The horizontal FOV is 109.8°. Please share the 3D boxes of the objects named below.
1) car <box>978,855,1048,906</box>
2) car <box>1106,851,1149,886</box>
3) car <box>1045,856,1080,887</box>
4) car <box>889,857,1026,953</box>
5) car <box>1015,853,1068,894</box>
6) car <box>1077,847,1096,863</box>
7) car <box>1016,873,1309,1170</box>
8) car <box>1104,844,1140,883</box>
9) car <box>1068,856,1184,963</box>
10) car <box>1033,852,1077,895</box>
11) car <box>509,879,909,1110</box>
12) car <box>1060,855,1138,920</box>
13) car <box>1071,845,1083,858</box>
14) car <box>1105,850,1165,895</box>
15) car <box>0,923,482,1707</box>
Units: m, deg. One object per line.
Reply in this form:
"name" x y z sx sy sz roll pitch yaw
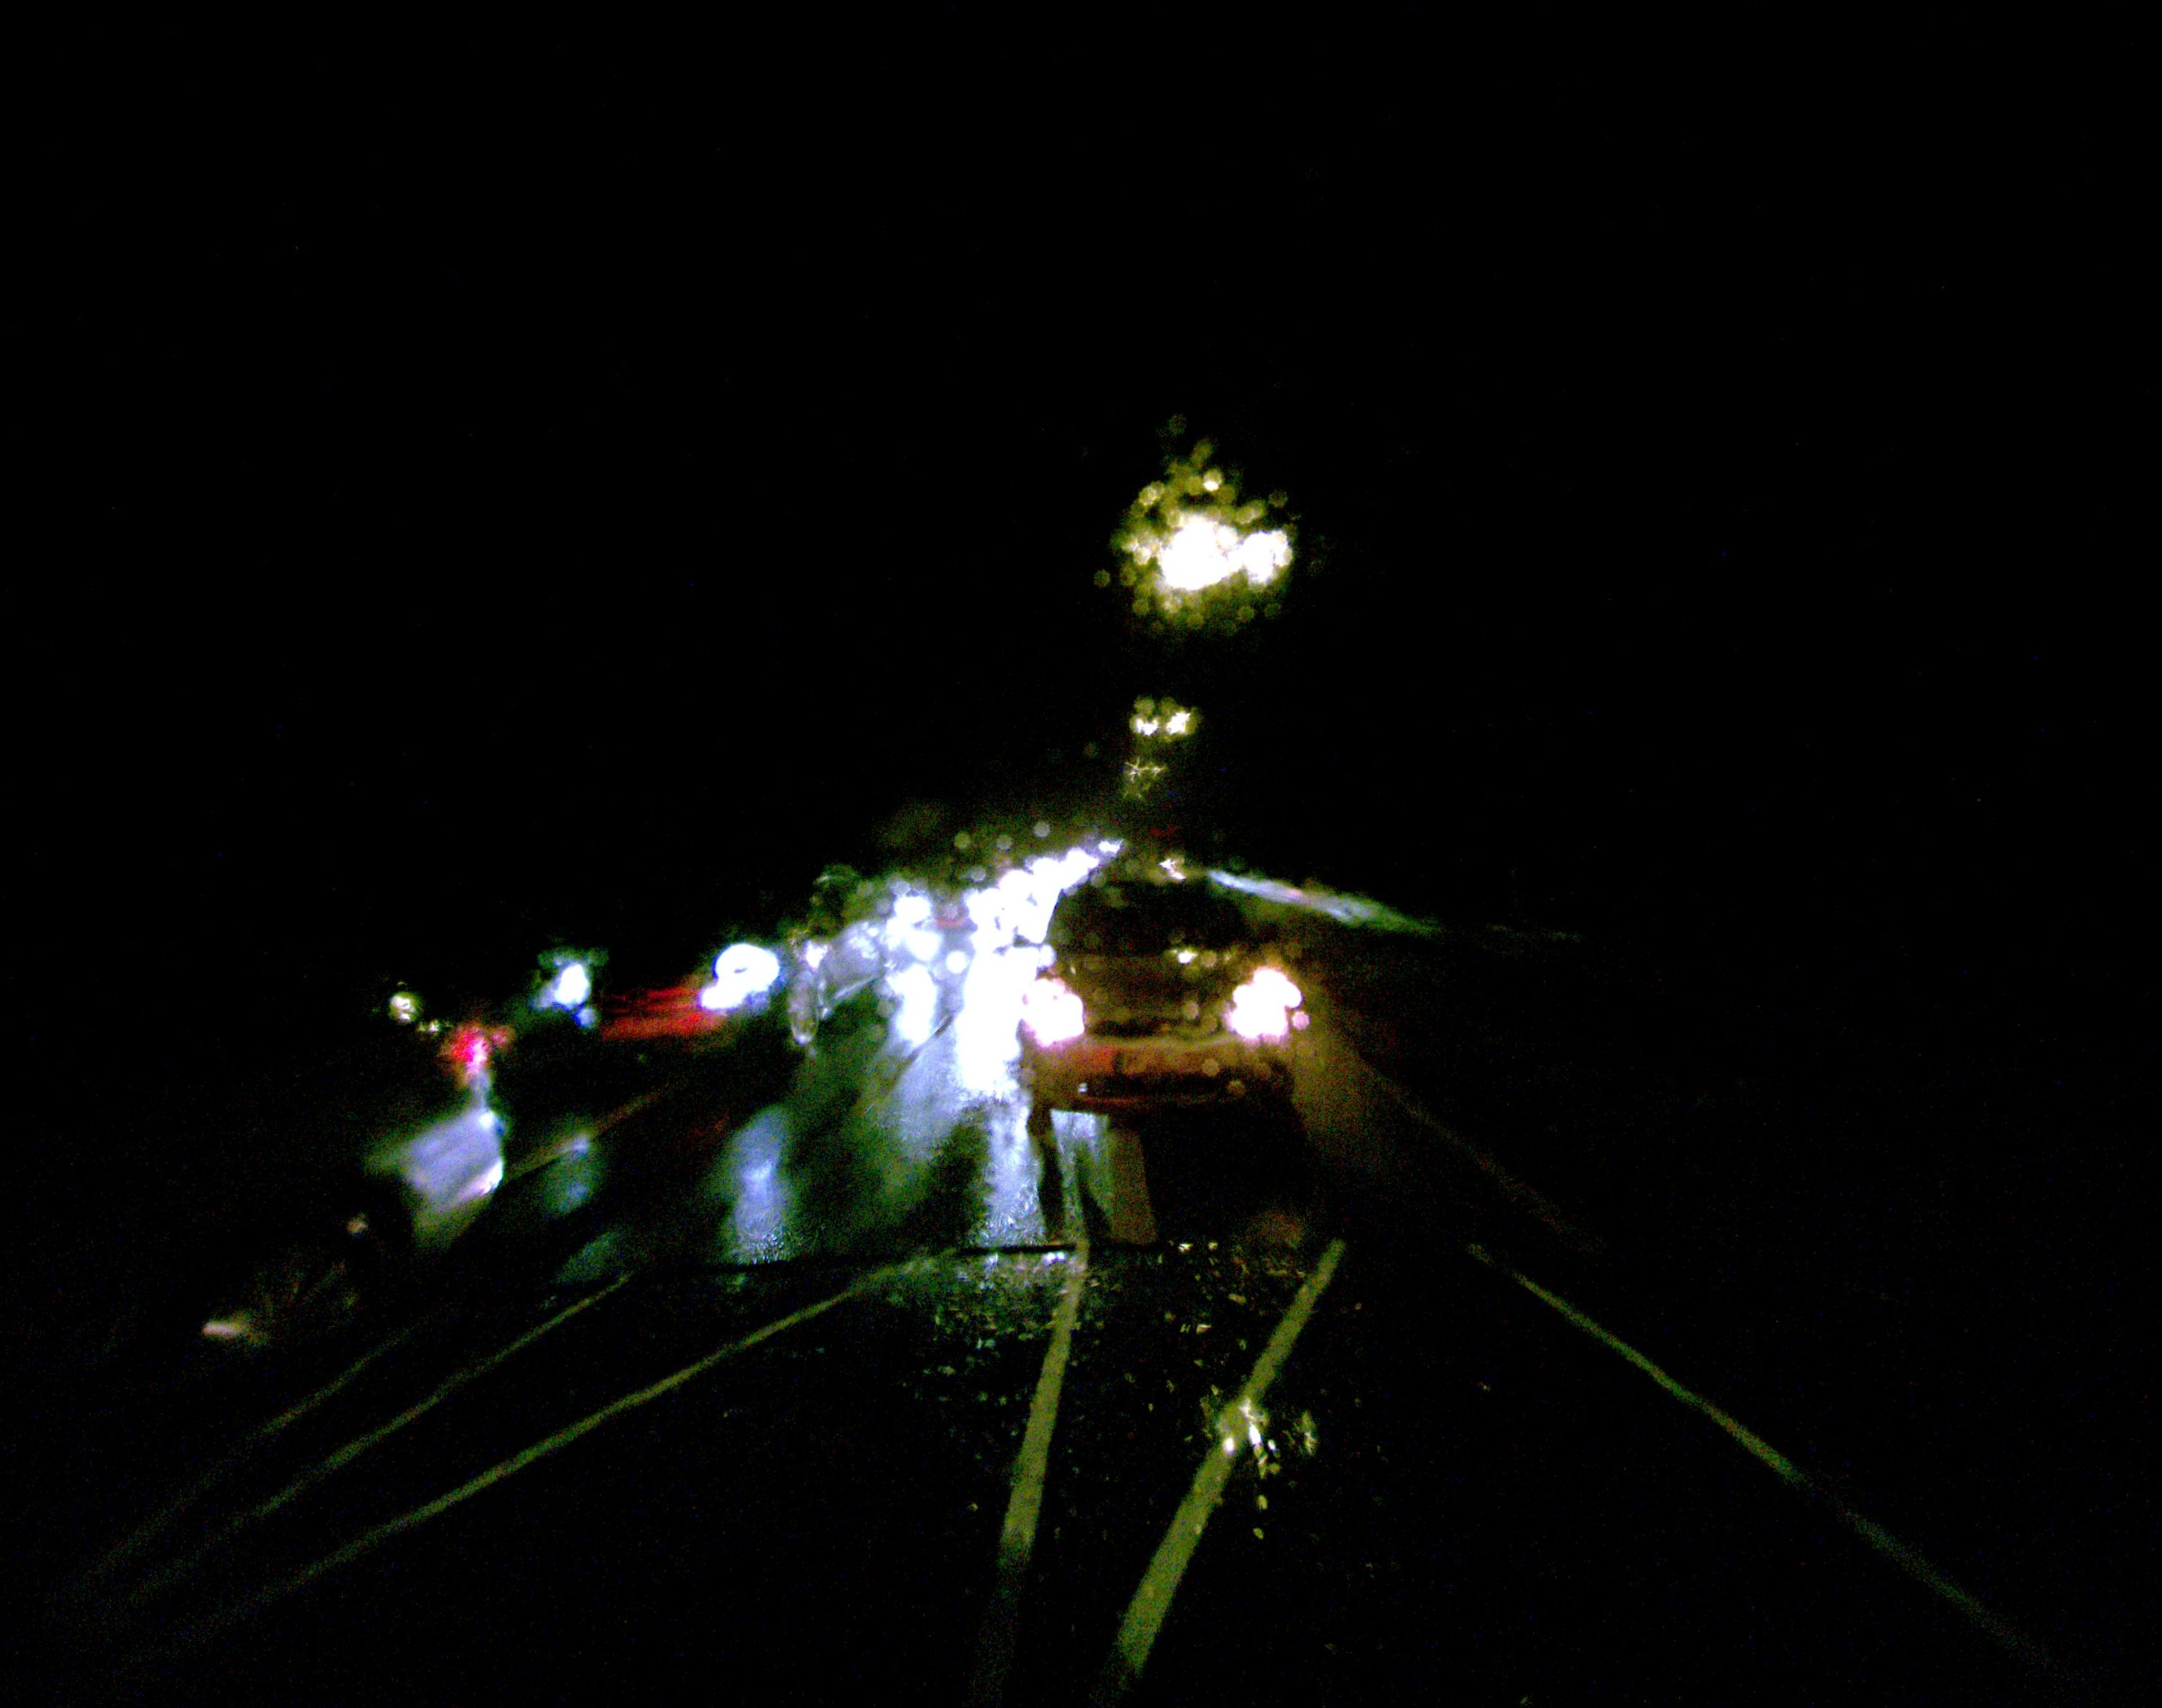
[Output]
"car" -2.312 0.872 26.843 1.998 1.589 4.391 -1 1 1
"car" 2.306 0.678 38.075 1.998 1.574 4.000 -2 1 2
"car" -1.124 1.031 47.534 1.998 1.789 4.000 -1 0 1
"car" -2.319 0.909 15.498 1.998 1.589 4.391 -1 1 1
"car" -1.629 0.790 32.963 1.998 1.589 4.391 -1 1 1
"car" 0.609 0.061 82.304 1.869 1.654 4.000 -1 0 2
"car" 0.458 0.943 5.770 1.497 1.416 3.389 -3 0 1
"car" 2.267 0.494 43.150 1.801 2.002 3.999 -2 1 1
"car" 0.681 0.820 12.855 1.606 1.417 3.389 -4 1 1
"car" -1.298 0.968 39.630 1.998 2.002 3.999 -2 1 1
"car" -3.123 1.075 7.488 1.743 1.409 4.140 -2 1 2
"car" 0.466 0.840 20.651 1.838 1.417 3.698 -4 1 1
"car" -0.706 -0.451 129.430 1.998 2.002 3.999 -1 1 0
"car" 1.971 0.635 28.965 1.998 1.497 3.999 -2 1 1
"car" -3.078 1.058 0.505 1.711 1.513 4.414 -2 1 1
